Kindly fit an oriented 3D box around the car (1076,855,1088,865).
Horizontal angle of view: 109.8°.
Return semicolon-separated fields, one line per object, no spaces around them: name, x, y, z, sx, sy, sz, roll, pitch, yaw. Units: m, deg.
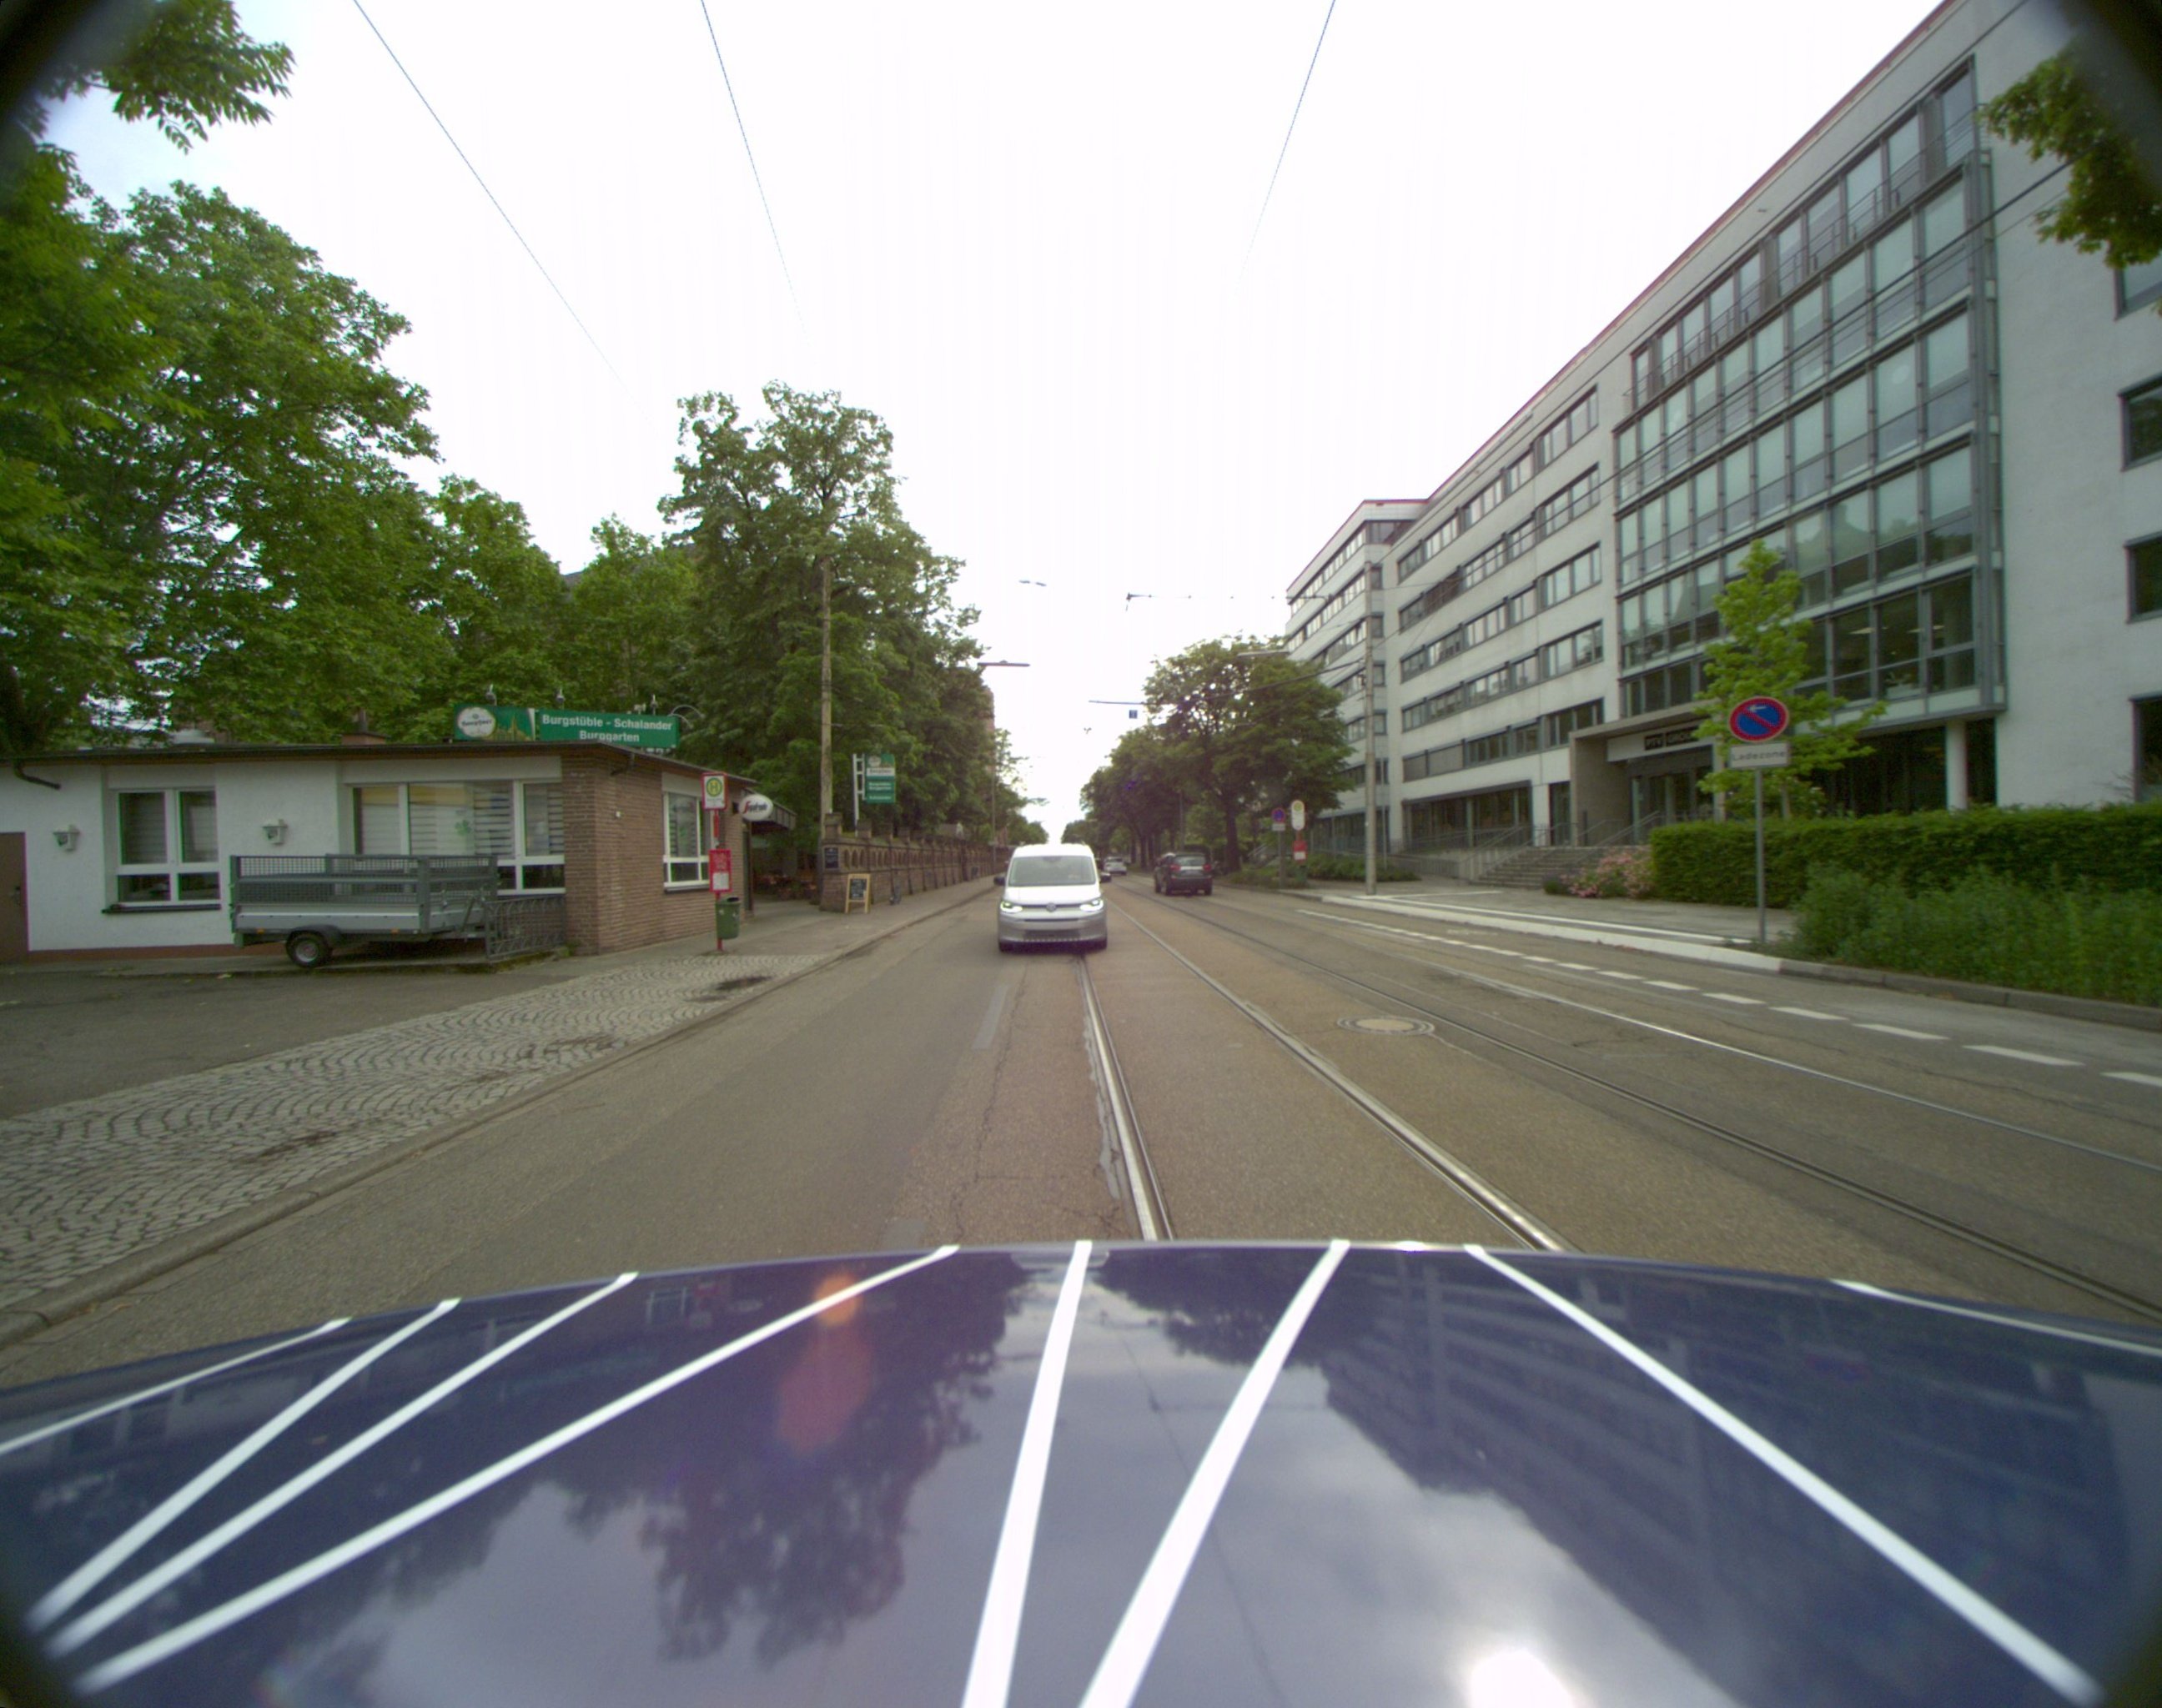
car;0.199;0.987;128.422;1.847;1.644;4.388;1;0;-2

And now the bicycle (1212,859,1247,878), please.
bicycle;8.625;0.841;44.293;1.834;1.047;0.741;-2;0;-10

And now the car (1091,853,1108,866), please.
car;2.075;0.671;87.925;1.752;1.477;4.062;-1;-1;-2

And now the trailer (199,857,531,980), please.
trailer;-10.139;0.860;10.956;3.170;1.530;1.620;-2;1;-1

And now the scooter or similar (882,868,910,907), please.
scooter or similar;-6.237;1.106;25.681;0.578;1.232;1.409;2;0;-1

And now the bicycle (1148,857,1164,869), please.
bicycle;7.379;0.899;74.689;1.474;1.085;0.616;-3;1;-14

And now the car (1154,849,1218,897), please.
car;4.064;0.678;29.997;1.832;1.727;4.334;-1;1;-1

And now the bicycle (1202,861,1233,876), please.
bicycle;8.655;0.901;48.149;1.812;0.894;0.632;-1;1;-8

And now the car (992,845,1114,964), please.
car;-0.494;0.785;14.200;1.850;1.796;4.936;-1;0;-2

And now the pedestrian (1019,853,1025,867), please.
pedestrian;-8.047;0.807;103.797;0.723;1.834;0.897;0;1;-4

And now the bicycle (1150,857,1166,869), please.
bicycle;7.680;0.875;75.702;1.473;1.134;0.617;-2;1;-3

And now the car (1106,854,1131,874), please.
car;3.100;0.806;63.639;1.708;1.521;3.740;-2;1;-3

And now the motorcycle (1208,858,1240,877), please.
motorcycle;8.736;0.820;46.480;1.794;1.044;0.732;-2;1;-9

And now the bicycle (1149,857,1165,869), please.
bicycle;7.617;0.873;76.205;1.473;1.134;0.617;-3;1;-3

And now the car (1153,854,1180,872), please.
car;7.652;0.821;68.229;1.632;1.439;3.755;-4;1;-5
